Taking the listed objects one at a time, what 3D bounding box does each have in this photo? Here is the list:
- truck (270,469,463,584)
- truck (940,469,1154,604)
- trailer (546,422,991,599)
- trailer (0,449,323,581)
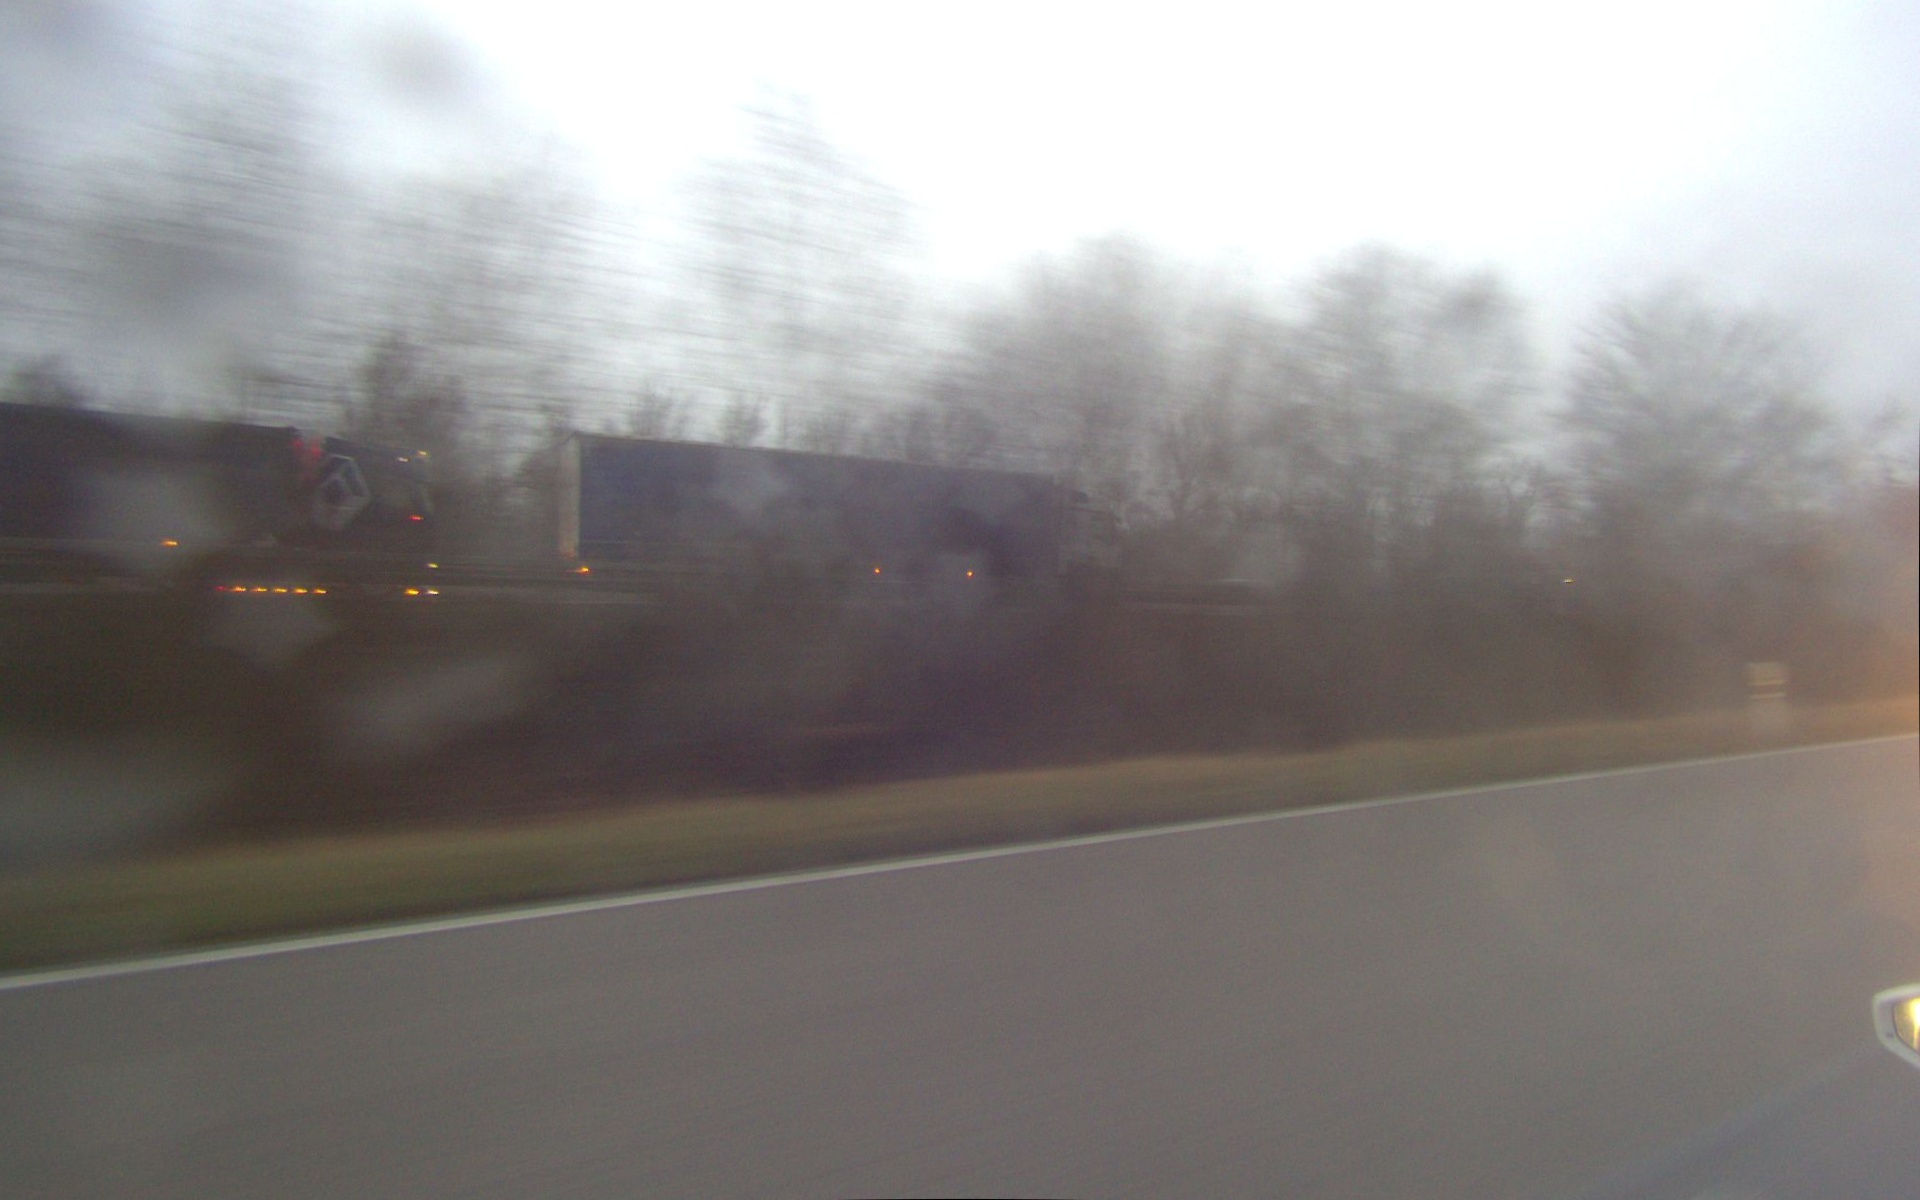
[{"bbox_3d":[-14.762,-1.728,25.206,3.953,2.468,2.518,1,-1,-30],"label":"truck"},{"bbox_3d":[2.730,-1.788,31.092,5.997,3.680,2.977,1,-1,-31],"label":"truck"},{"bbox_3d":[-4.715,-1.999,26.627,11.256,3.682,2.983,1,-1,-31],"label":"trailer"},{"bbox_3d":[-20.618,-1.868,21.717,11.366,2.456,2.497,1,-1,-30],"label":"trailer"}]
